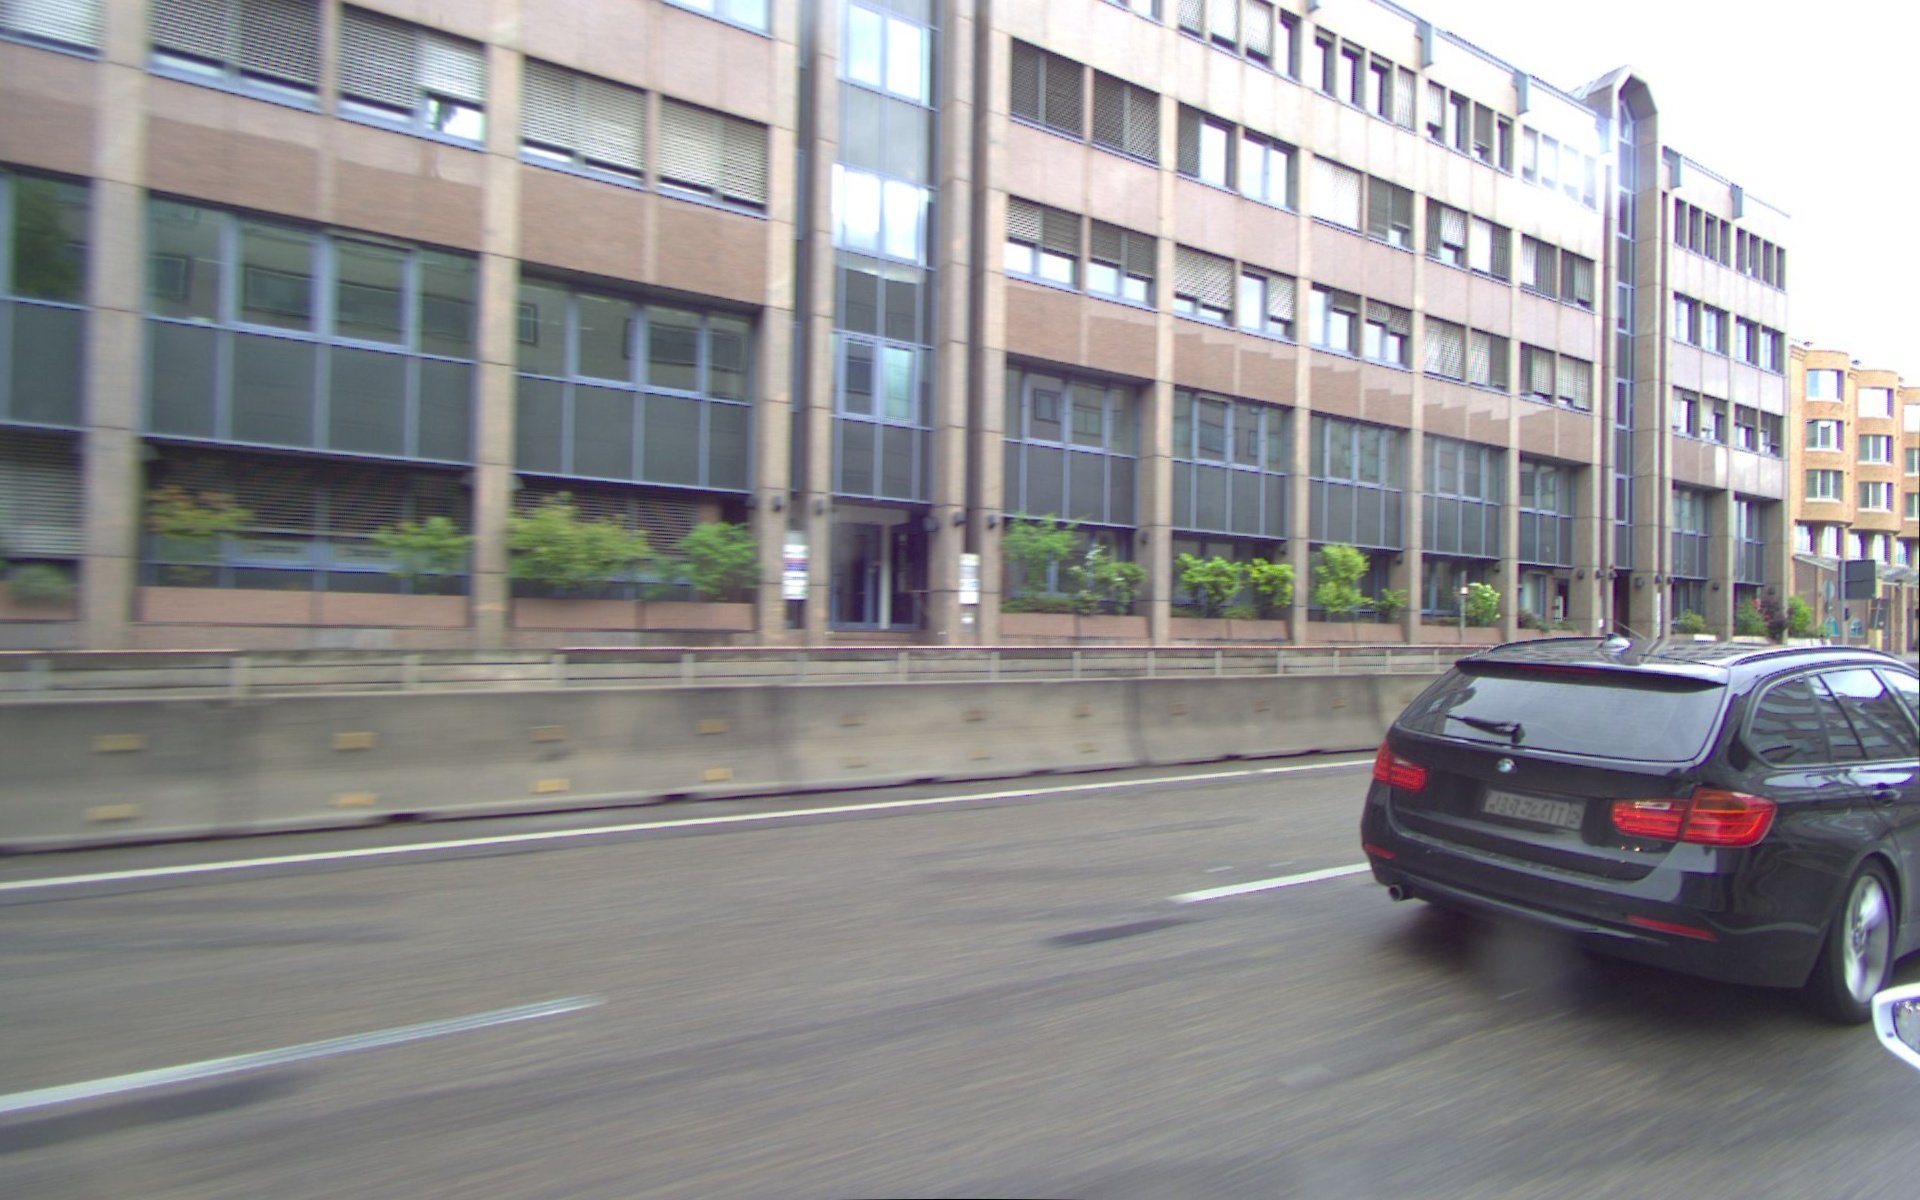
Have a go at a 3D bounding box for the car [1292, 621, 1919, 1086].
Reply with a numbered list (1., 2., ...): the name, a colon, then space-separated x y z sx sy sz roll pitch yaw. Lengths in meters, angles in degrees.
1. car: 3.960 0.866 5.118 4.560 1.445 1.782 2 -1 -31
